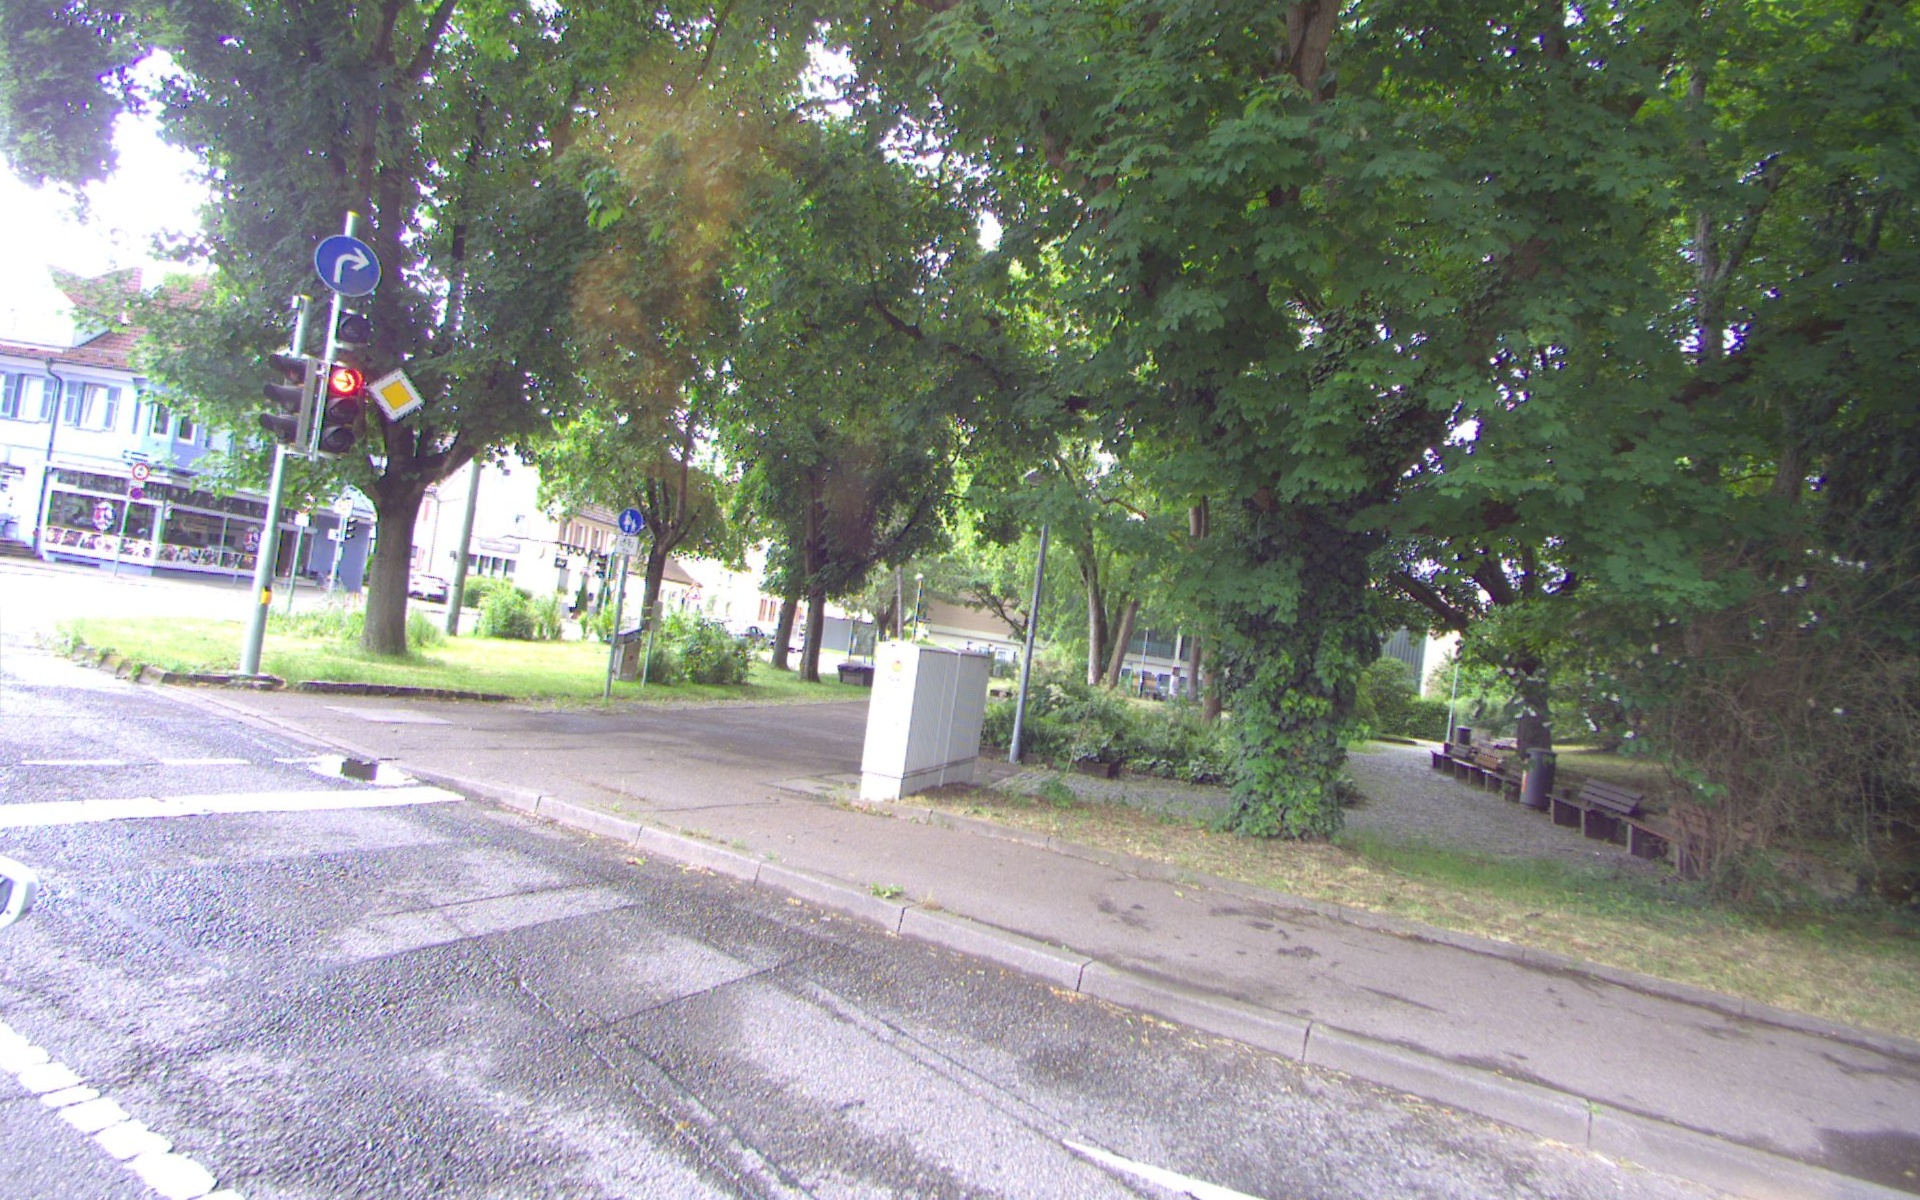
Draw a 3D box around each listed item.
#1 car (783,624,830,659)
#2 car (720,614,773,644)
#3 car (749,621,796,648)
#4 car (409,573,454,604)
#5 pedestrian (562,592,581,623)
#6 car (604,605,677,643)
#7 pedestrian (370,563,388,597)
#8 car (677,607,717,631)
[{"bbox_3d":[-10.060,2.754,66.176,1.750,2.037,4.005,7,-2,7],"label":"car"},{"bbox_3d":[-11.573,1.593,54.822,1.530,1.336,3.514,7,-2,9],"label":"car"},{"bbox_3d":[-11.172,2.067,60.107,1.530,1.336,3.514,7,-2,8],"label":"car"},{"bbox_3d":[-27.875,-0.607,53.145,1.479,1.384,3.166,8,-2,-19],"label":"car"},{"bbox_3d":[-21.837,0.416,56.619,0.600,1.668,0.610,7,-1,3],"label":"pedestrian"},{"bbox_3d":[-14.014,1.086,44.358,1.530,1.336,3.514,7,-2,9],"label":"car"},{"bbox_3d":[-27.147,-0.943,46.994,0.456,1.535,0.581,7,-1,-39],"label":"pedestrian"},{"bbox_3d":[-19.375,1.438,74.250,1.528,1.436,4.005,7,-2,4],"label":"car"}]
